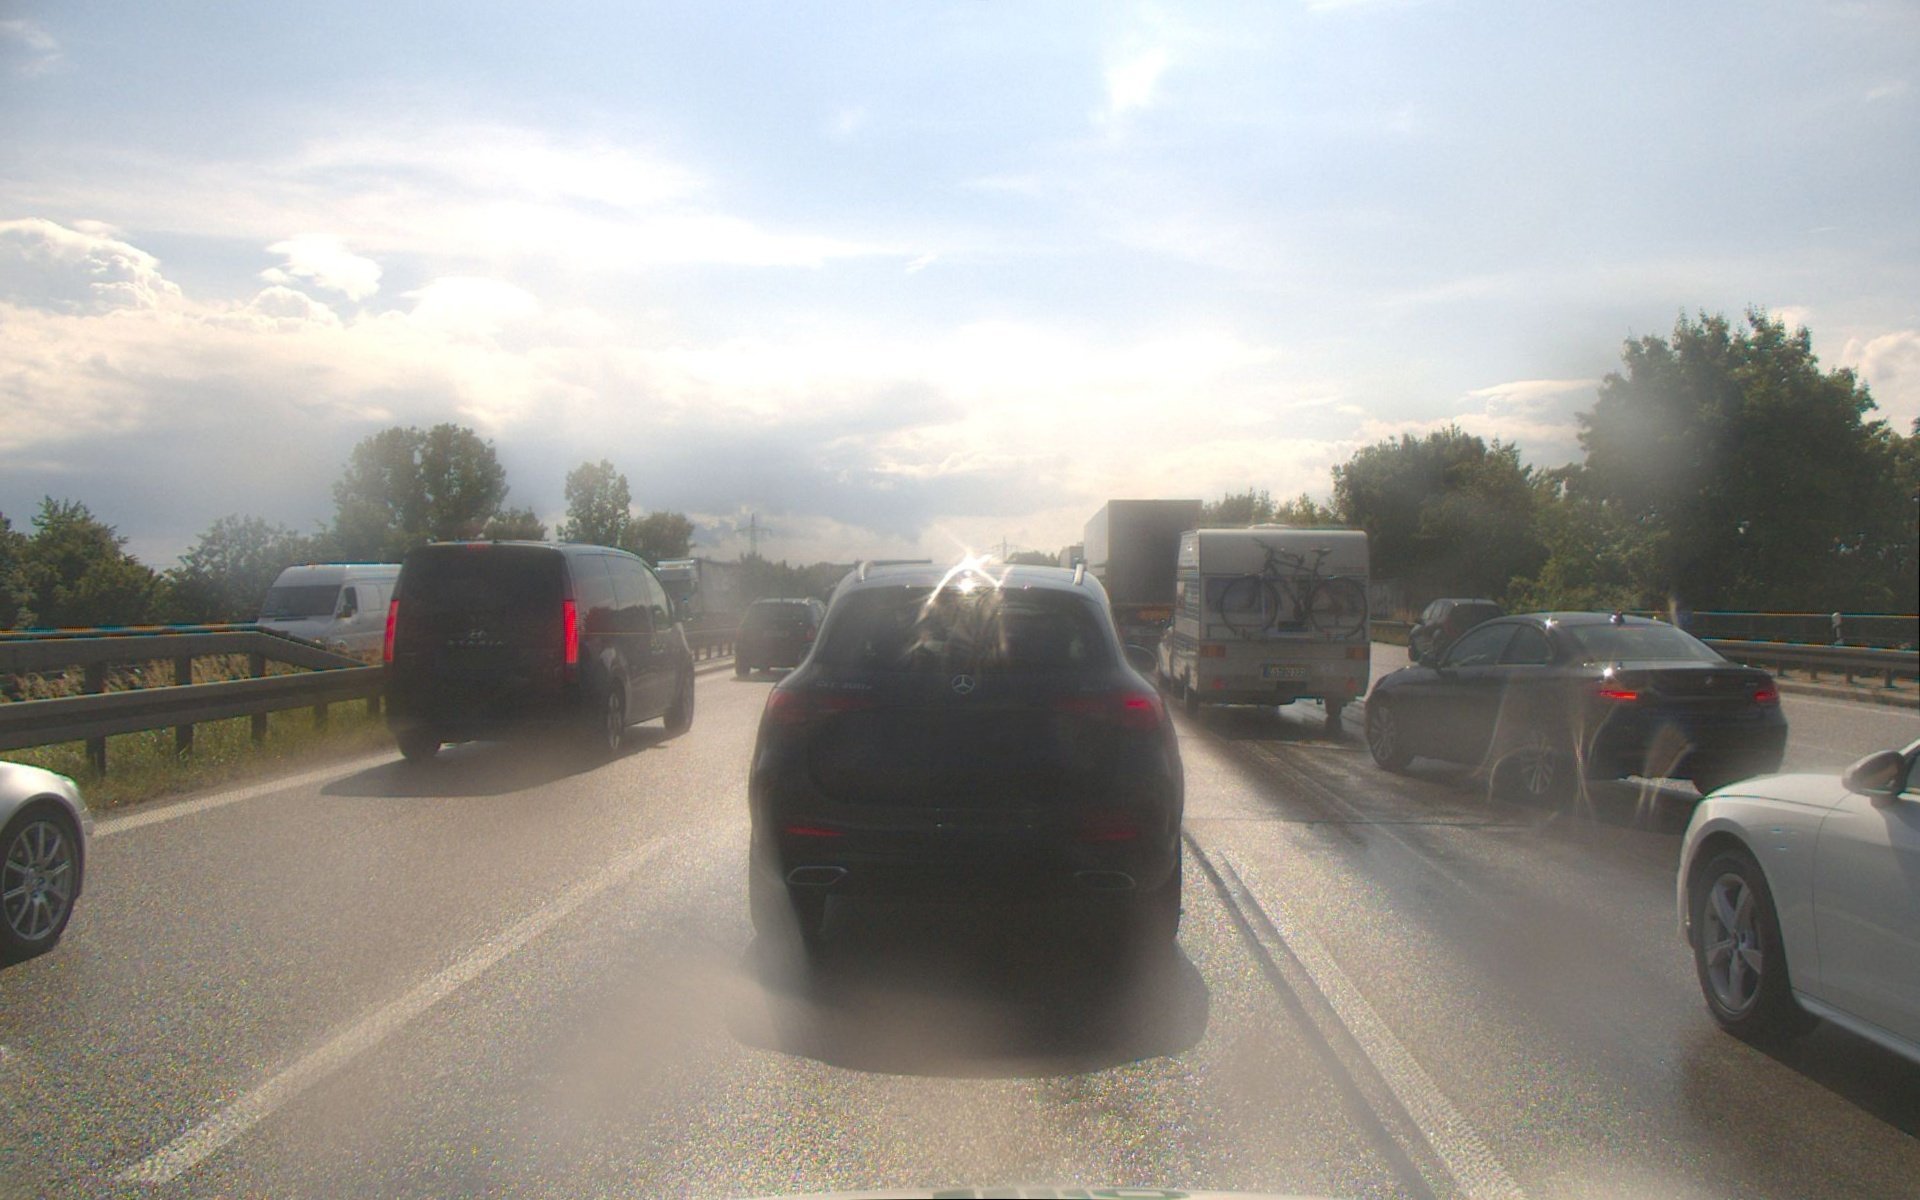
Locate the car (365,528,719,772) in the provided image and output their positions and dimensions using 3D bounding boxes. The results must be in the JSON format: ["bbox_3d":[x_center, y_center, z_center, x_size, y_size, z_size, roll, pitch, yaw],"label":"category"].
[{"bbox_3d":[-3.914,0.409,16.587,1.952,2.049,5.271,0,0,3],"label":"car"}]

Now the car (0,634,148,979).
[{"bbox_3d":[-4.571,0.806,5.421,1.688,1.300,4.065,0,0,2],"label":"car"}]

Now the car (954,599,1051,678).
[{"bbox_3d":[0.875,0.714,32.530,1.768,1.432,4.001,1,0,2],"label":"car"}]

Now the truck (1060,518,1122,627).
[{"bbox_3d":[6.199,-1.243,79.207,2.450,4.914,7.544,1,0,1],"label":"truck"}]

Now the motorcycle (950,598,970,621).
[{"bbox_3d":[-0.007,0.557,98.502,1.051,1.293,2.691,0,0,3],"label":"motorcycle"}]

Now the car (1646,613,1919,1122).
[{"bbox_3d":[3.654,0.766,4.253,1.790,1.450,4.509,1,-1,-2],"label":"car"}]

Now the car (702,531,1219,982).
[{"bbox_3d":[0.084,0.595,8.460,1.952,1.690,4.407,0,0,2],"label":"car"}]

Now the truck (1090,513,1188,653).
[{"bbox_3d":[5.672,-0.521,53.238,2.932,4.239,5.243,1,0,4],"label":"truck"}]

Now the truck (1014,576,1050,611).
[{"bbox_3d":[8.974,-0.781,207.189,3.765,4.087,11.217,1,0,-2],"label":"truck"}]

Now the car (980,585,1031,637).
[{"bbox_3d":[1.850,0.425,66.044,1.952,2.049,4.002,0,0,3],"label":"car"}]

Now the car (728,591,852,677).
[{"bbox_3d":[-3.204,0.604,31.841,1.720,1.543,4.210,0,0,3],"label":"car"}]

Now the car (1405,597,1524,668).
[{"bbox_3d":[12.252,0.760,40.399,1.810,1.596,4.001,1,0,2],"label":"car"}]

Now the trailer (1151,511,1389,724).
[{"bbox_3d":[4.124,0.217,23.225,2.325,2.526,6.525,1,0,2],"label":"trailer"}]

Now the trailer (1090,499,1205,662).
[{"bbox_3d":[5.246,-0.522,47.651,2.943,4.239,8.540,1,0,4],"label":"trailer"}]

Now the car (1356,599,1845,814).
[{"bbox_3d":[5.068,0.751,13.807,1.816,1.490,4.243,0,0,-11],"label":"car"}]

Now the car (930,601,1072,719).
[{"bbox_3d":[0.612,0.724,22.026,1.720,1.411,3.946,0,0,3],"label":"car"}]

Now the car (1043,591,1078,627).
[{"bbox_3d":[6.079,0.534,100.647,1.952,2.048,4.002,4,0,3],"label":"car"}]

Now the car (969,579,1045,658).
[{"bbox_3d":[1.333,0.476,45.536,1.952,2.049,4.002,1,0,3],"label":"car"}]

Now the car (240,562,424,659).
[{"bbox_3d":[-14.288,0.227,38.012,1.952,2.049,5.559,-1,0,2],"label":"car"}]

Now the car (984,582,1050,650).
[{"bbox_3d":[1.924,0.507,54.544,1.952,2.048,4.002,4,0,3],"label":"car"}]

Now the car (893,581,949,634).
[{"bbox_3d":[-1.642,0.318,70.261,1.952,2.048,4.002,4,0,3],"label":"car"}]

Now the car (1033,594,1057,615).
[{"bbox_3d":[7.269,0.395,141.591,1.838,1.791,3.999,1,0,0],"label":"car"}]

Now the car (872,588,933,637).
[{"bbox_3d":[-2.178,0.459,63.466,1.952,1.803,4.002,1,0,3],"label":"car"}]

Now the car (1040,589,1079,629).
[{"bbox_3d":[5.294,0.483,88.379,1.952,2.049,4.002,2,0,3],"label":"car"}]

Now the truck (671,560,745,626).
[{"bbox_3d":[-15.561,-0.331,102.778,2.789,3.920,9.424,0,-1,2],"label":"truck"}]

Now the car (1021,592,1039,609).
[{"bbox_3d":[7.657,0.065,181.328,1.838,1.791,3.999,1,0,0],"label":"car"}]

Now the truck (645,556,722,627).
[{"bbox_3d":[-15.820,-0.414,95.130,2.802,3.888,7.879,0,-1,2],"label":"truck"}]

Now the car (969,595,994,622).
[{"bbox_3d":[1.801,0.714,138.758,1.953,2.048,4.000,4,0,0],"label":"car"}]

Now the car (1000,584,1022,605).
[{"bbox_3d":[4.525,-0.502,147.259,1.838,1.791,3.999,1,0,0],"label":"car"}]

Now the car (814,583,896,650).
[{"bbox_3d":[-2.893,0.450,46.267,1.952,1.750,4.000,1,0,1],"label":"car"}]

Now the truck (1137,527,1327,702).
[{"bbox_3d":[4.265,0.219,26.972,2.325,2.520,5.757,1,0,2],"label":"truck"}]

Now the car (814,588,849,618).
[{"bbox_3d":[-10.260,0.208,132.356,1.952,2.247,6.982,1,1,2],"label":"car"}]
